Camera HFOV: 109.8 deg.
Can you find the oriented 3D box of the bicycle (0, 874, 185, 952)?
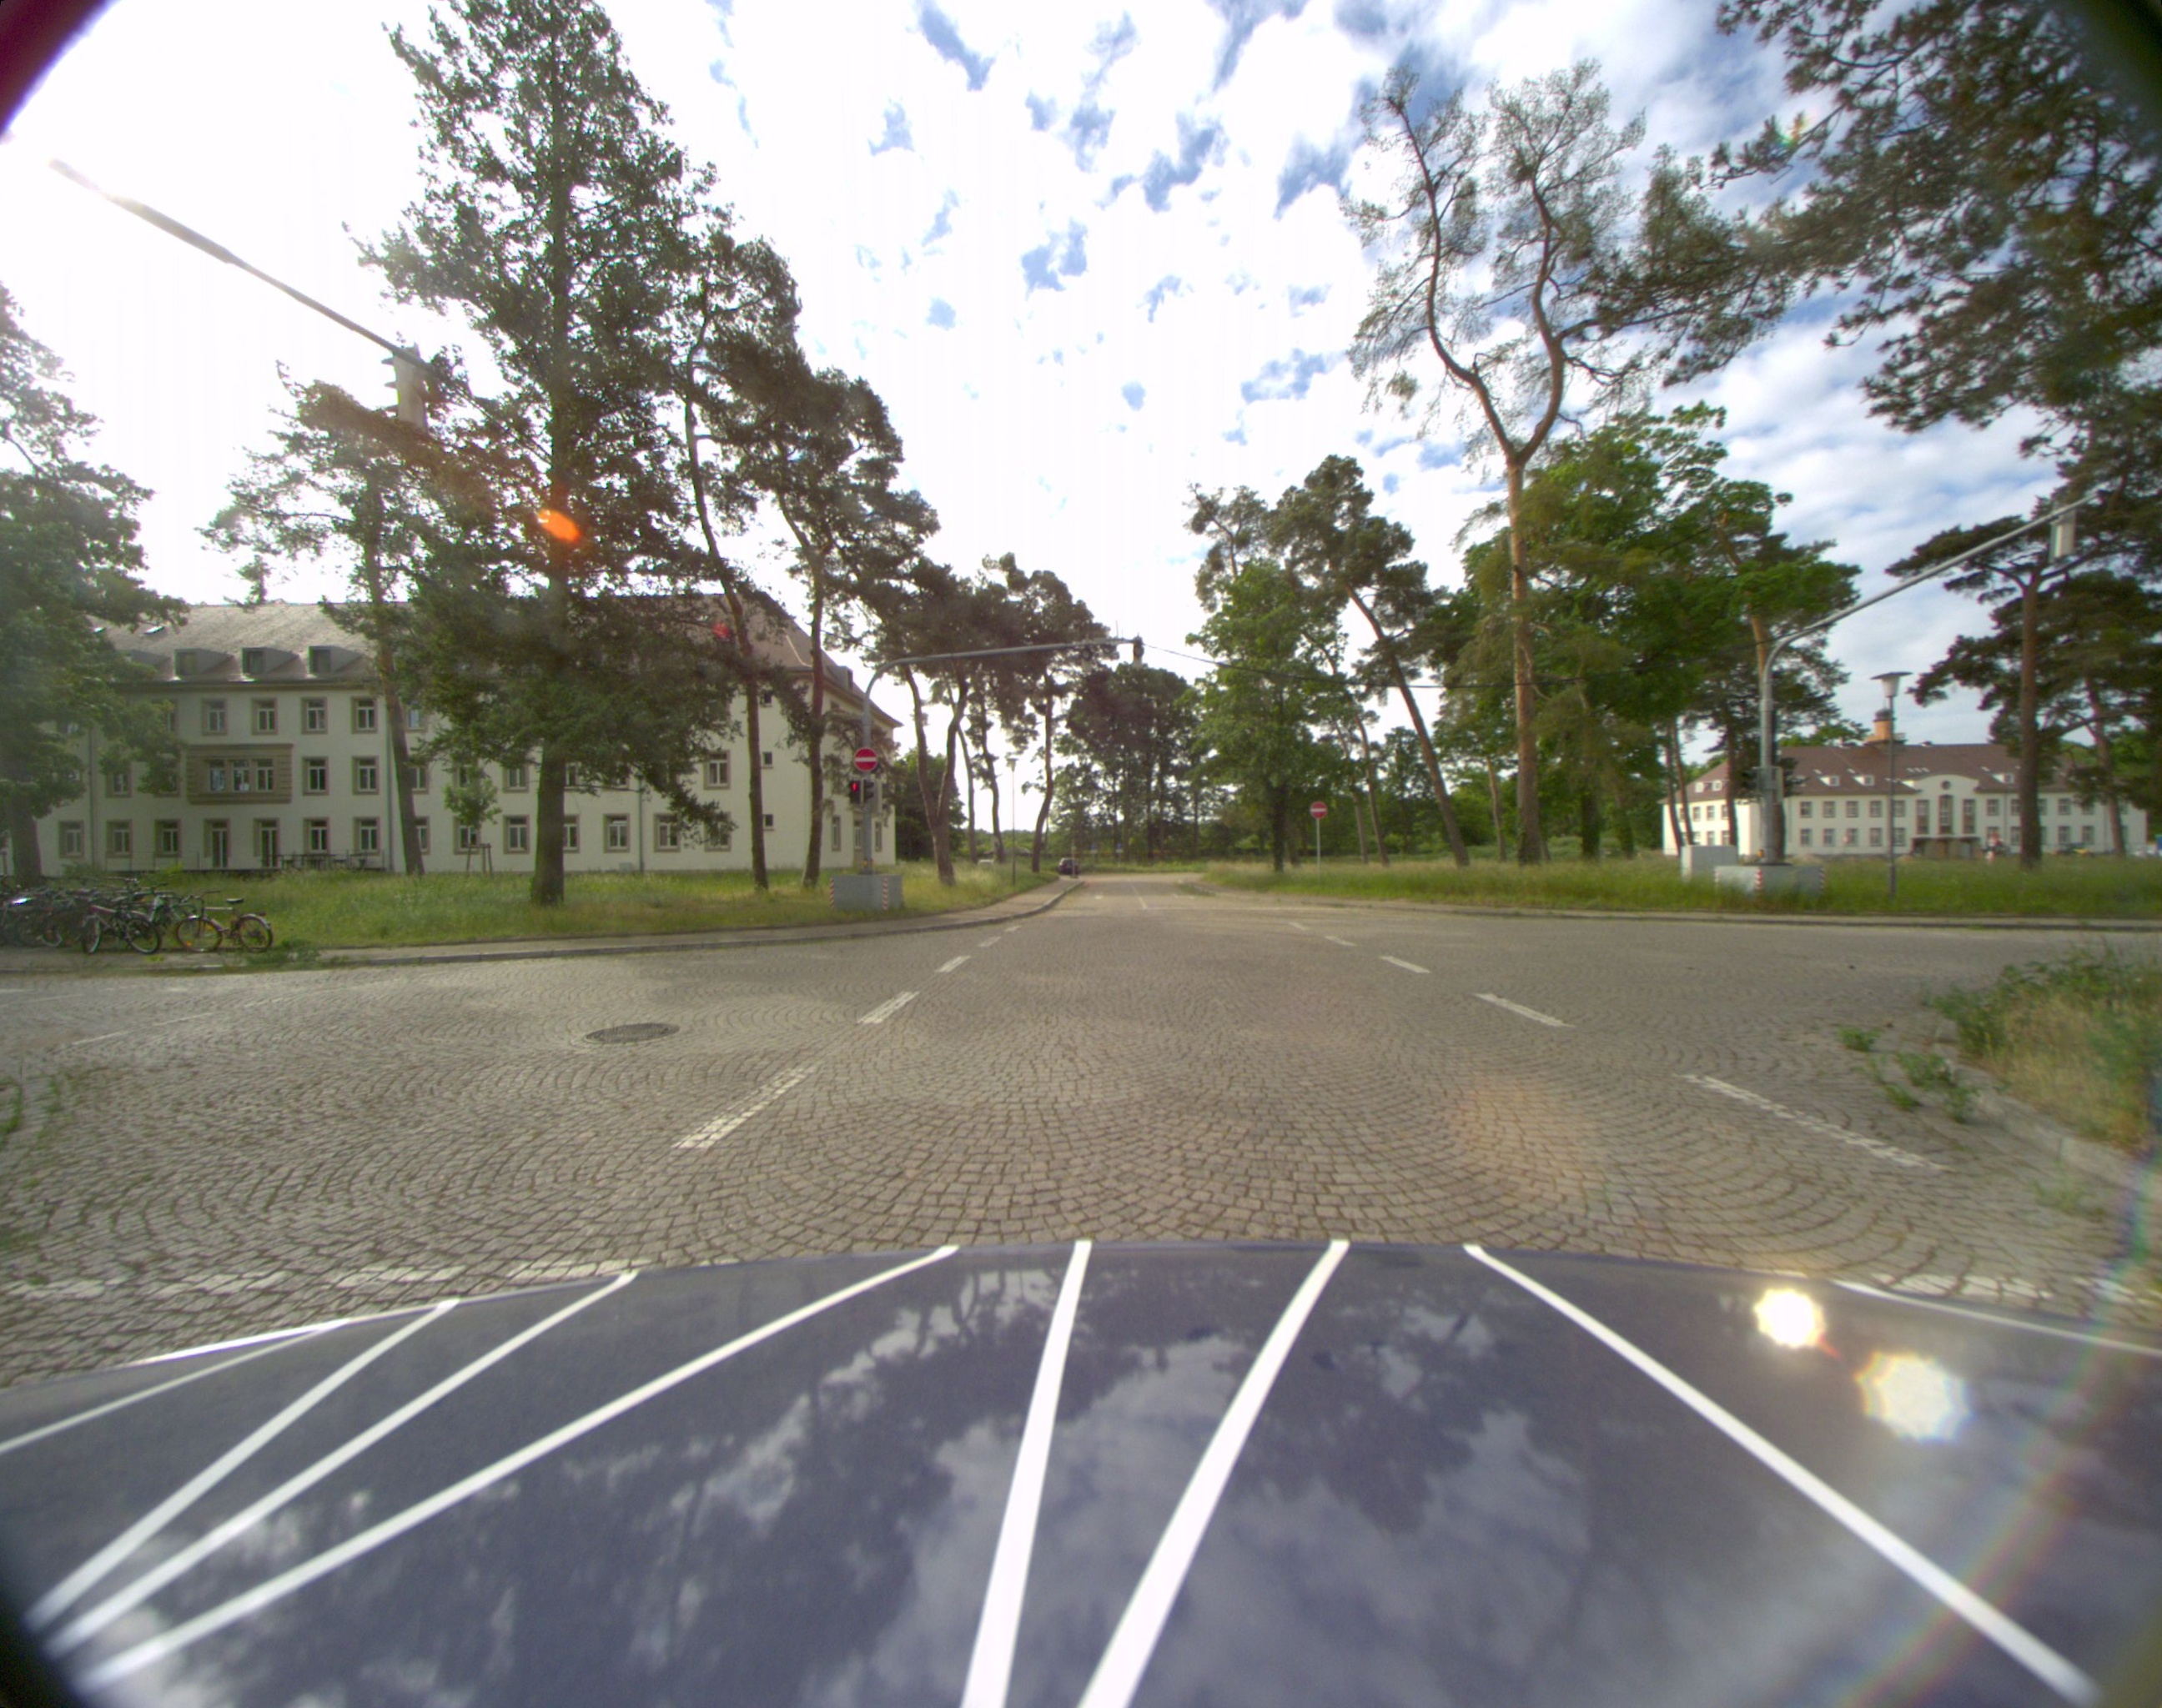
[{"bbox_3d":[-20.283,1.127,15.337,0.950,1.364,2.812,-1,0,2],"label":"bicycle"}]

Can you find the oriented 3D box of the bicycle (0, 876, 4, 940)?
[{"bbox_3d":[-23.536,1.150,14.952,0.950,1.364,2.576,-1,0,2],"label":"bicycle"}]

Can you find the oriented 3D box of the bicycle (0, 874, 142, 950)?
[{"bbox_3d":[-20.834,1.131,15.031,0.950,1.364,2.812,-1,0,2],"label":"bicycle"}]

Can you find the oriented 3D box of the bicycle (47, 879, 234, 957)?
[{"bbox_3d":[-17.910,1.179,14.571,0.873,1.299,2.120,-1,0,2],"label":"bicycle"}]

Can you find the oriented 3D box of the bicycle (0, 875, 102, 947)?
[{"bbox_3d":[-21.727,1.147,15.039,0.950,1.364,2.812,-1,0,2],"label":"bicycle"}]

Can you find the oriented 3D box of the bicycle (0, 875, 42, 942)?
[{"bbox_3d":[-22.697,1.134,14.931,0.950,1.364,2.576,-1,0,2],"label":"bicycle"}]

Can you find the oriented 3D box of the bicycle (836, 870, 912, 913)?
[{"bbox_3d":[-5.504,1.003,20.261,1.832,1.057,0.646,-1,4,0],"label":"bicycle"}]

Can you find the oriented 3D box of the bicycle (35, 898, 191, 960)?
[{"bbox_3d":[-16.700,1.282,13.131,1.976,0.990,0.730,-1,0,7],"label":"bicycle"}]

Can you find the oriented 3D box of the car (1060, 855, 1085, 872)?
[{"bbox_3d":[-0.742,0.830,69.563,1.998,1.524,4.001,-1,0,4],"label":"car"}]

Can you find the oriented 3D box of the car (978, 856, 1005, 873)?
[{"bbox_3d":[-8.323,0.944,70.657,1.771,1.524,3.695,-1,0,4],"label":"car"}]

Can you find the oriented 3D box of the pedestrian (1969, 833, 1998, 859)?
[{"bbox_3d":[76.037,-0.690,64.018,1.055,2.165,1.185,-1,1,3],"label":"pedestrian"}]

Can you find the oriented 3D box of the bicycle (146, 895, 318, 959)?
[{"bbox_3d":[-14.607,1.243,13.120,1.977,0.990,0.903,-1,0,2],"label":"bicycle"}]

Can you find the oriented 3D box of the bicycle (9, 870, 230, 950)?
[{"bbox_3d":[-18.512,1.019,14.785,0.873,1.359,2.628,-1,0,2],"label":"bicycle"}]

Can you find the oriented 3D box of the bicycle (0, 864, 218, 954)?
[{"bbox_3d":[-19.362,1.013,15.168,0.950,1.574,2.812,-1,0,2],"label":"bicycle"}]
